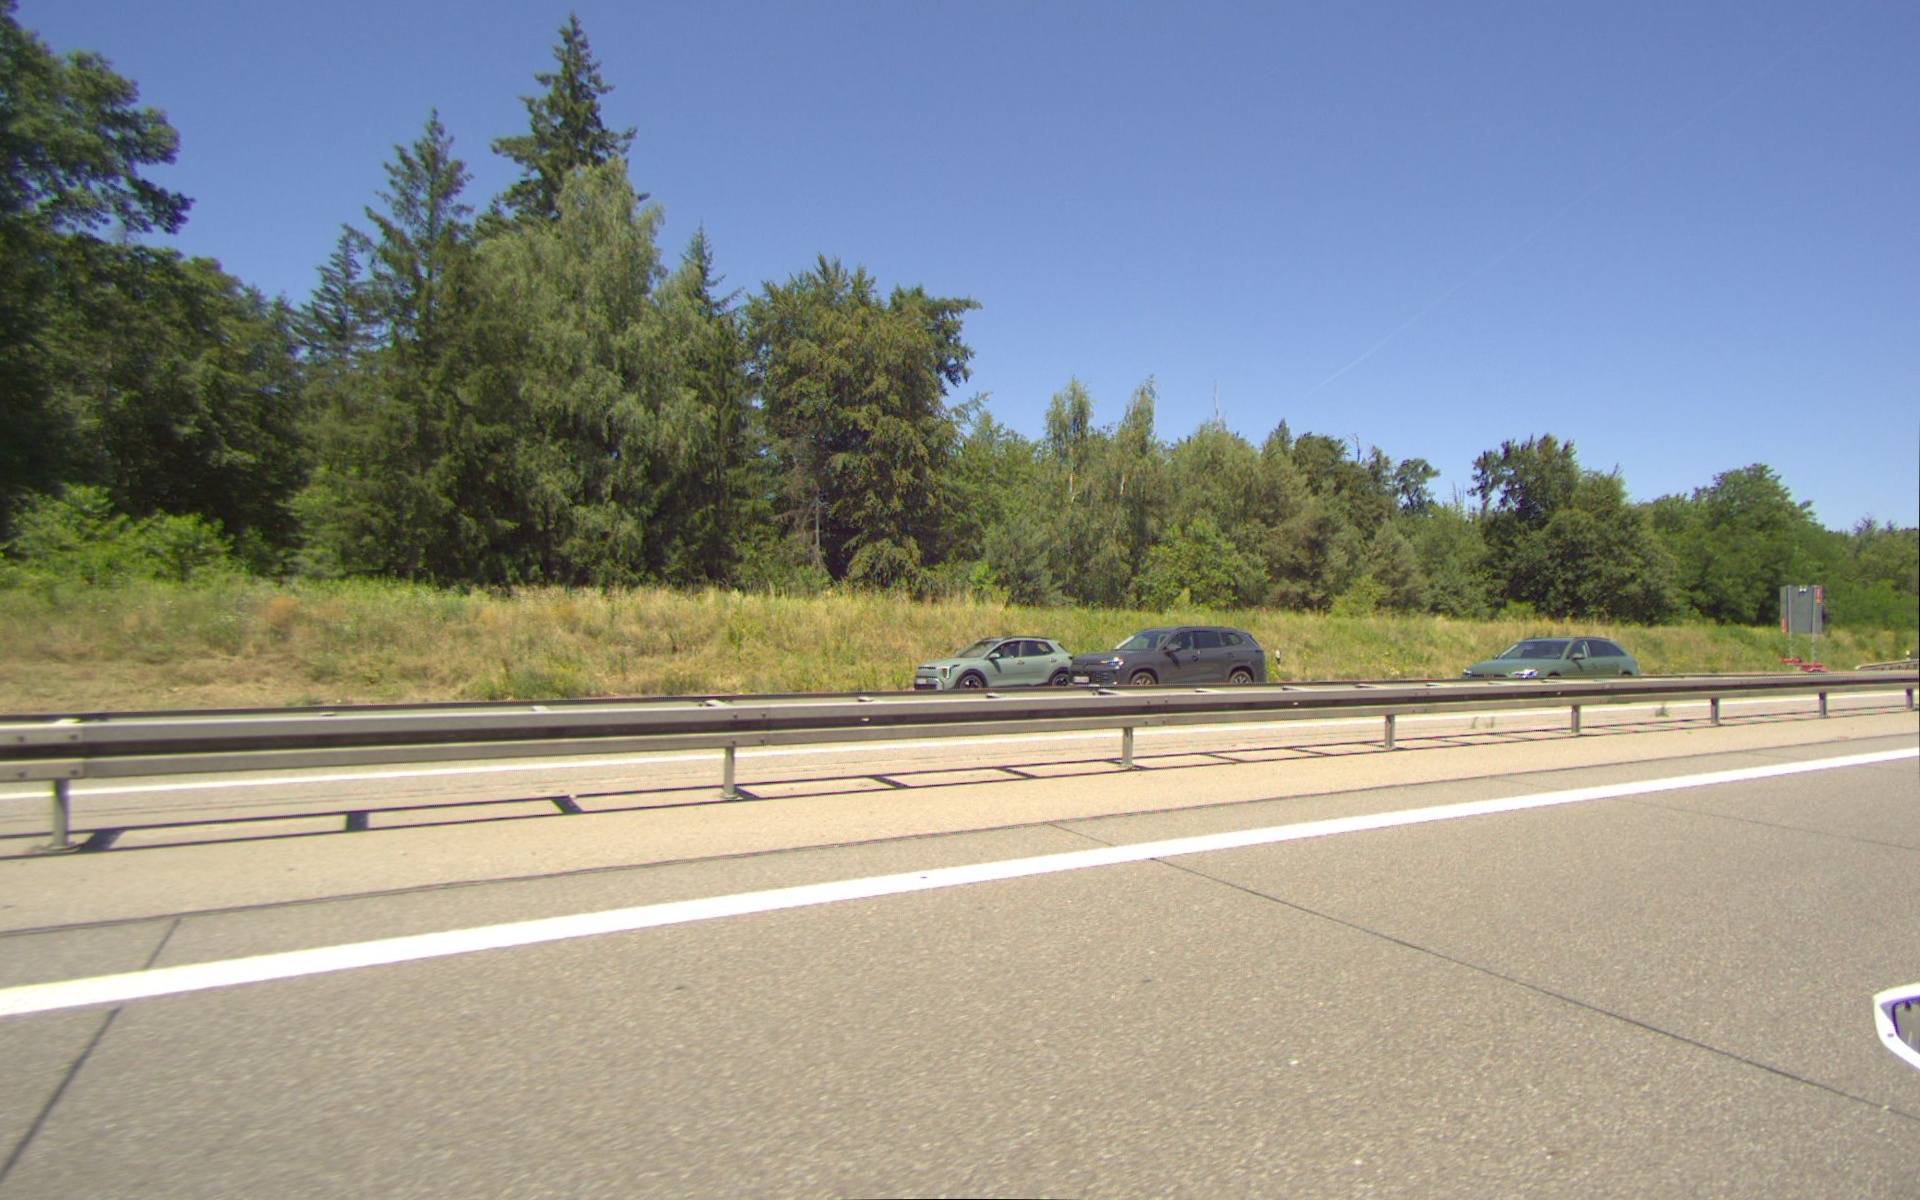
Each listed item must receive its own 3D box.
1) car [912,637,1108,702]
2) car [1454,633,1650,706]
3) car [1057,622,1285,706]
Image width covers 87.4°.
[{"bbox_3d":[1.247,1.644,24.046,4.545,1.428,1.663,2,-4,-31],"label":"car"},{"bbox_3d":[12.823,1.471,21.693,4.522,1.447,1.690,2,-4,-31],"label":"car"},{"bbox_3d":[4.620,1.364,21.750,4.929,1.639,1.786,2,-4,-31],"label":"car"}]
